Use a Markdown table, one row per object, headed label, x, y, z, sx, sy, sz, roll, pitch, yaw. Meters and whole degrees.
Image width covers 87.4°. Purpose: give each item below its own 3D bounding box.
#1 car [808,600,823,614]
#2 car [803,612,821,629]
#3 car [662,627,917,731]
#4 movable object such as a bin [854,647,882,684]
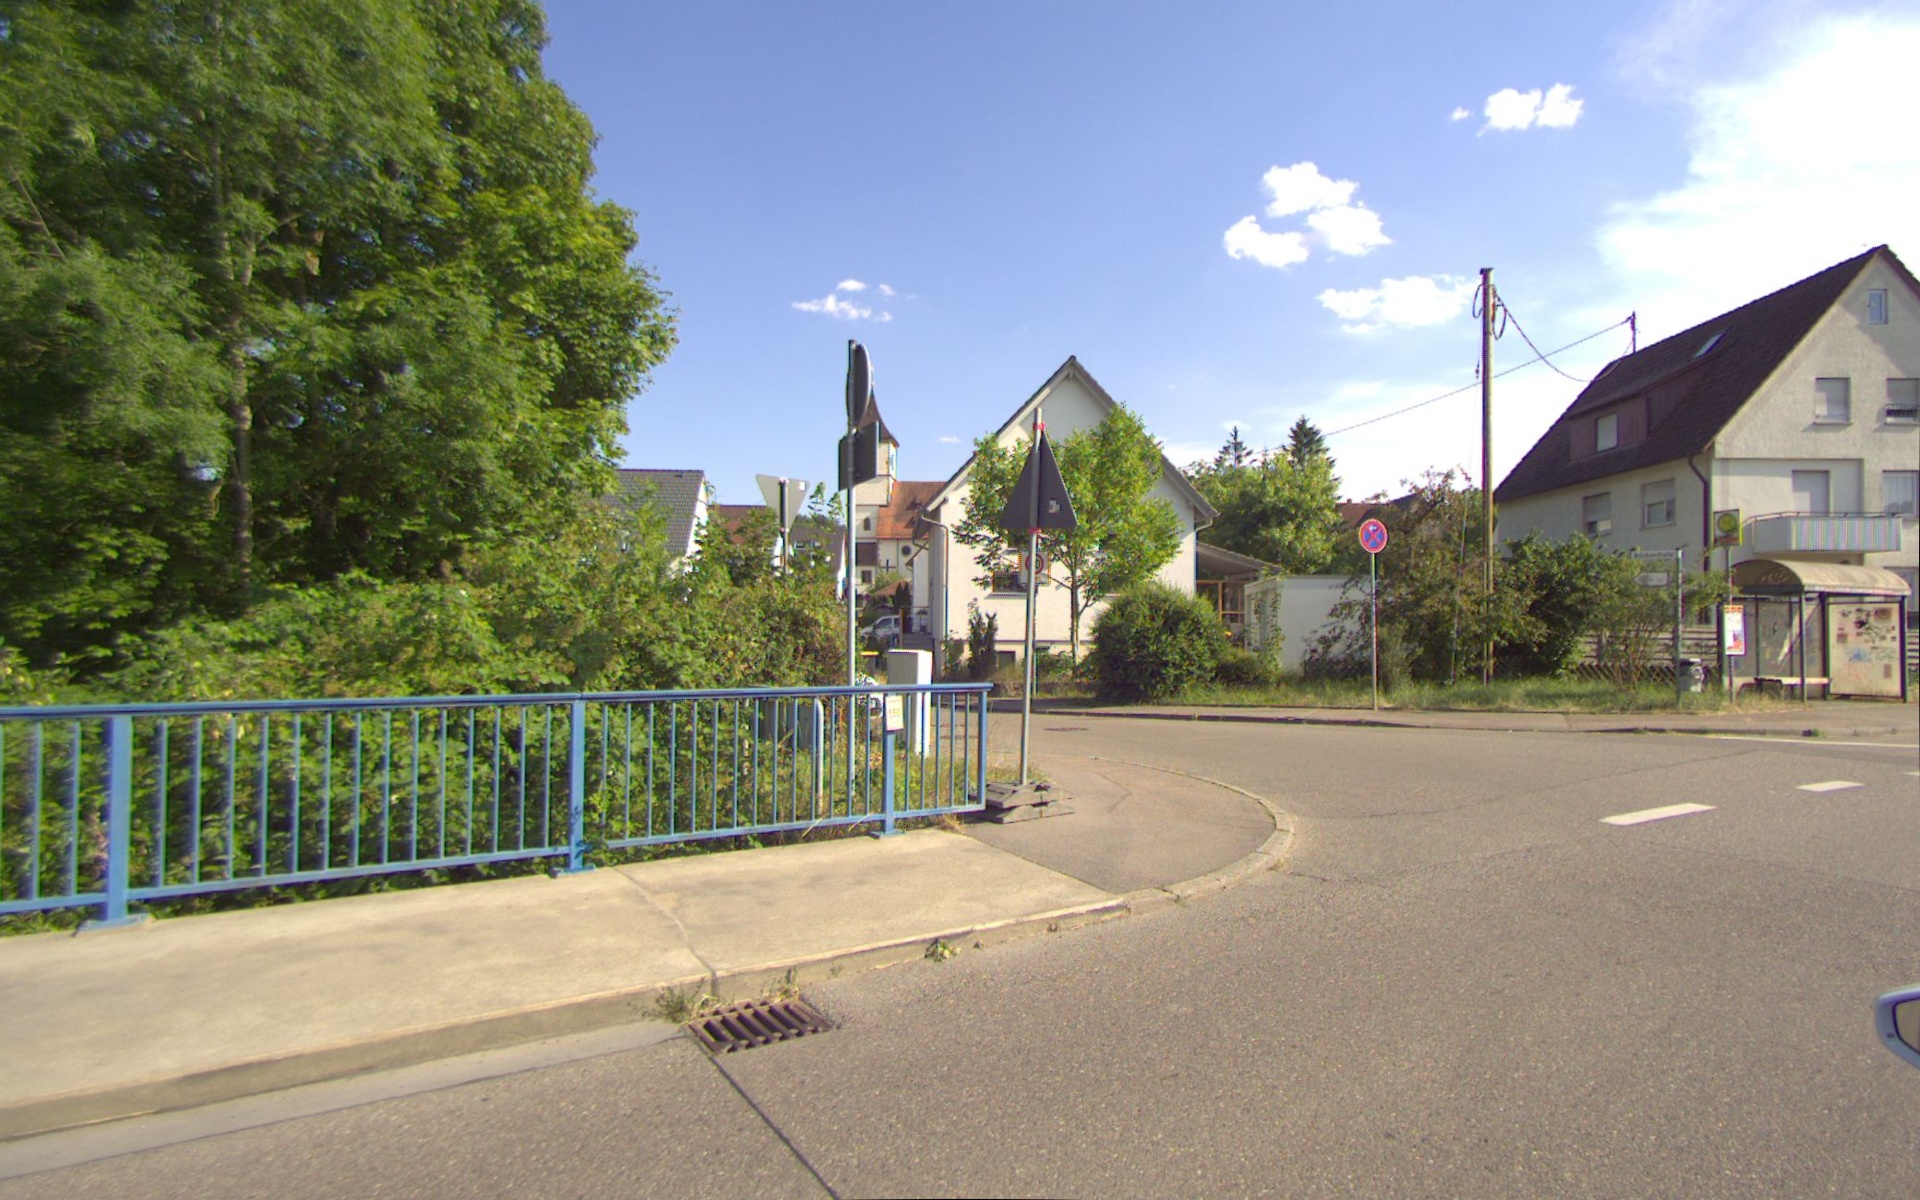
| label | x | y | z | sx | sy | sz | roll | pitch | yaw |
| --- | --- | --- | --- | --- | --- | --- | --- | --- | --- |
| car | -17.443 | 0.894 | 121.530 | 1.667 | 1.641 | 3.288 | 1 | -1 | -6 |
| car | -15.291 | 2.133 | 103.664 | 1.667 | 1.641 | 3.288 | 1 | -1 | -6 |
| car | -2.938 | 1.249 | 16.974 | 4.207 | 1.511 | 1.855 | -1 | -3 | 37 |
| movable object such as a bin | -2.875 | 2.039 | 31.426 | 0.693 | 1.104 | 0.682 | 1 | -2 | -25 |
